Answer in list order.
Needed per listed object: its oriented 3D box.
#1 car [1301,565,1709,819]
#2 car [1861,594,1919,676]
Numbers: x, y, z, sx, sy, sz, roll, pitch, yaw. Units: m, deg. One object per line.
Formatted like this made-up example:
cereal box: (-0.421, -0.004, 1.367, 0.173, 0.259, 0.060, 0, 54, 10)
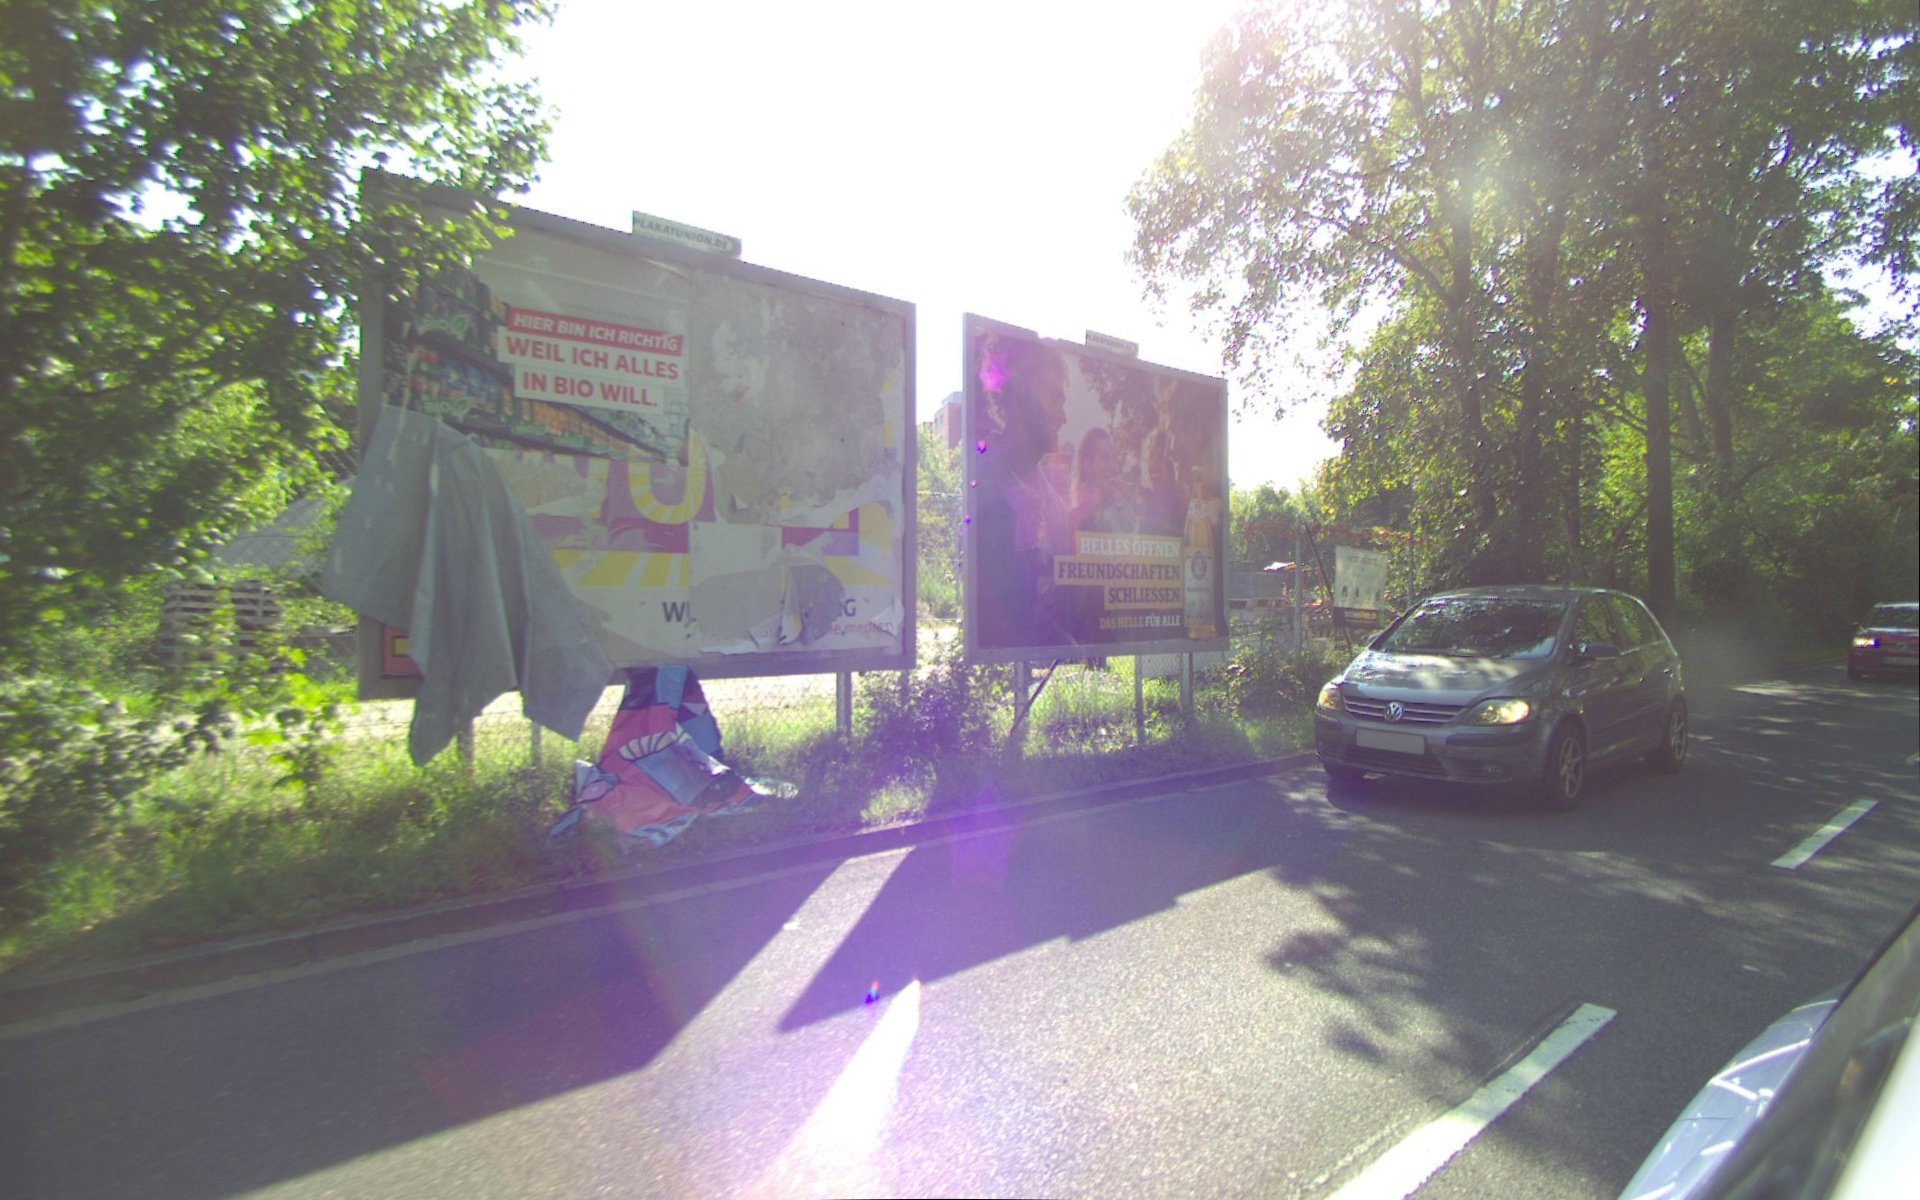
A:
car: (4.532, 0.555, 8.183, 3.831, 1.576, 1.648, -1, 0, -41)
car: (18.287, 0.608, 18.933, 3.409, 1.416, 1.579, -1, 1, -38)
